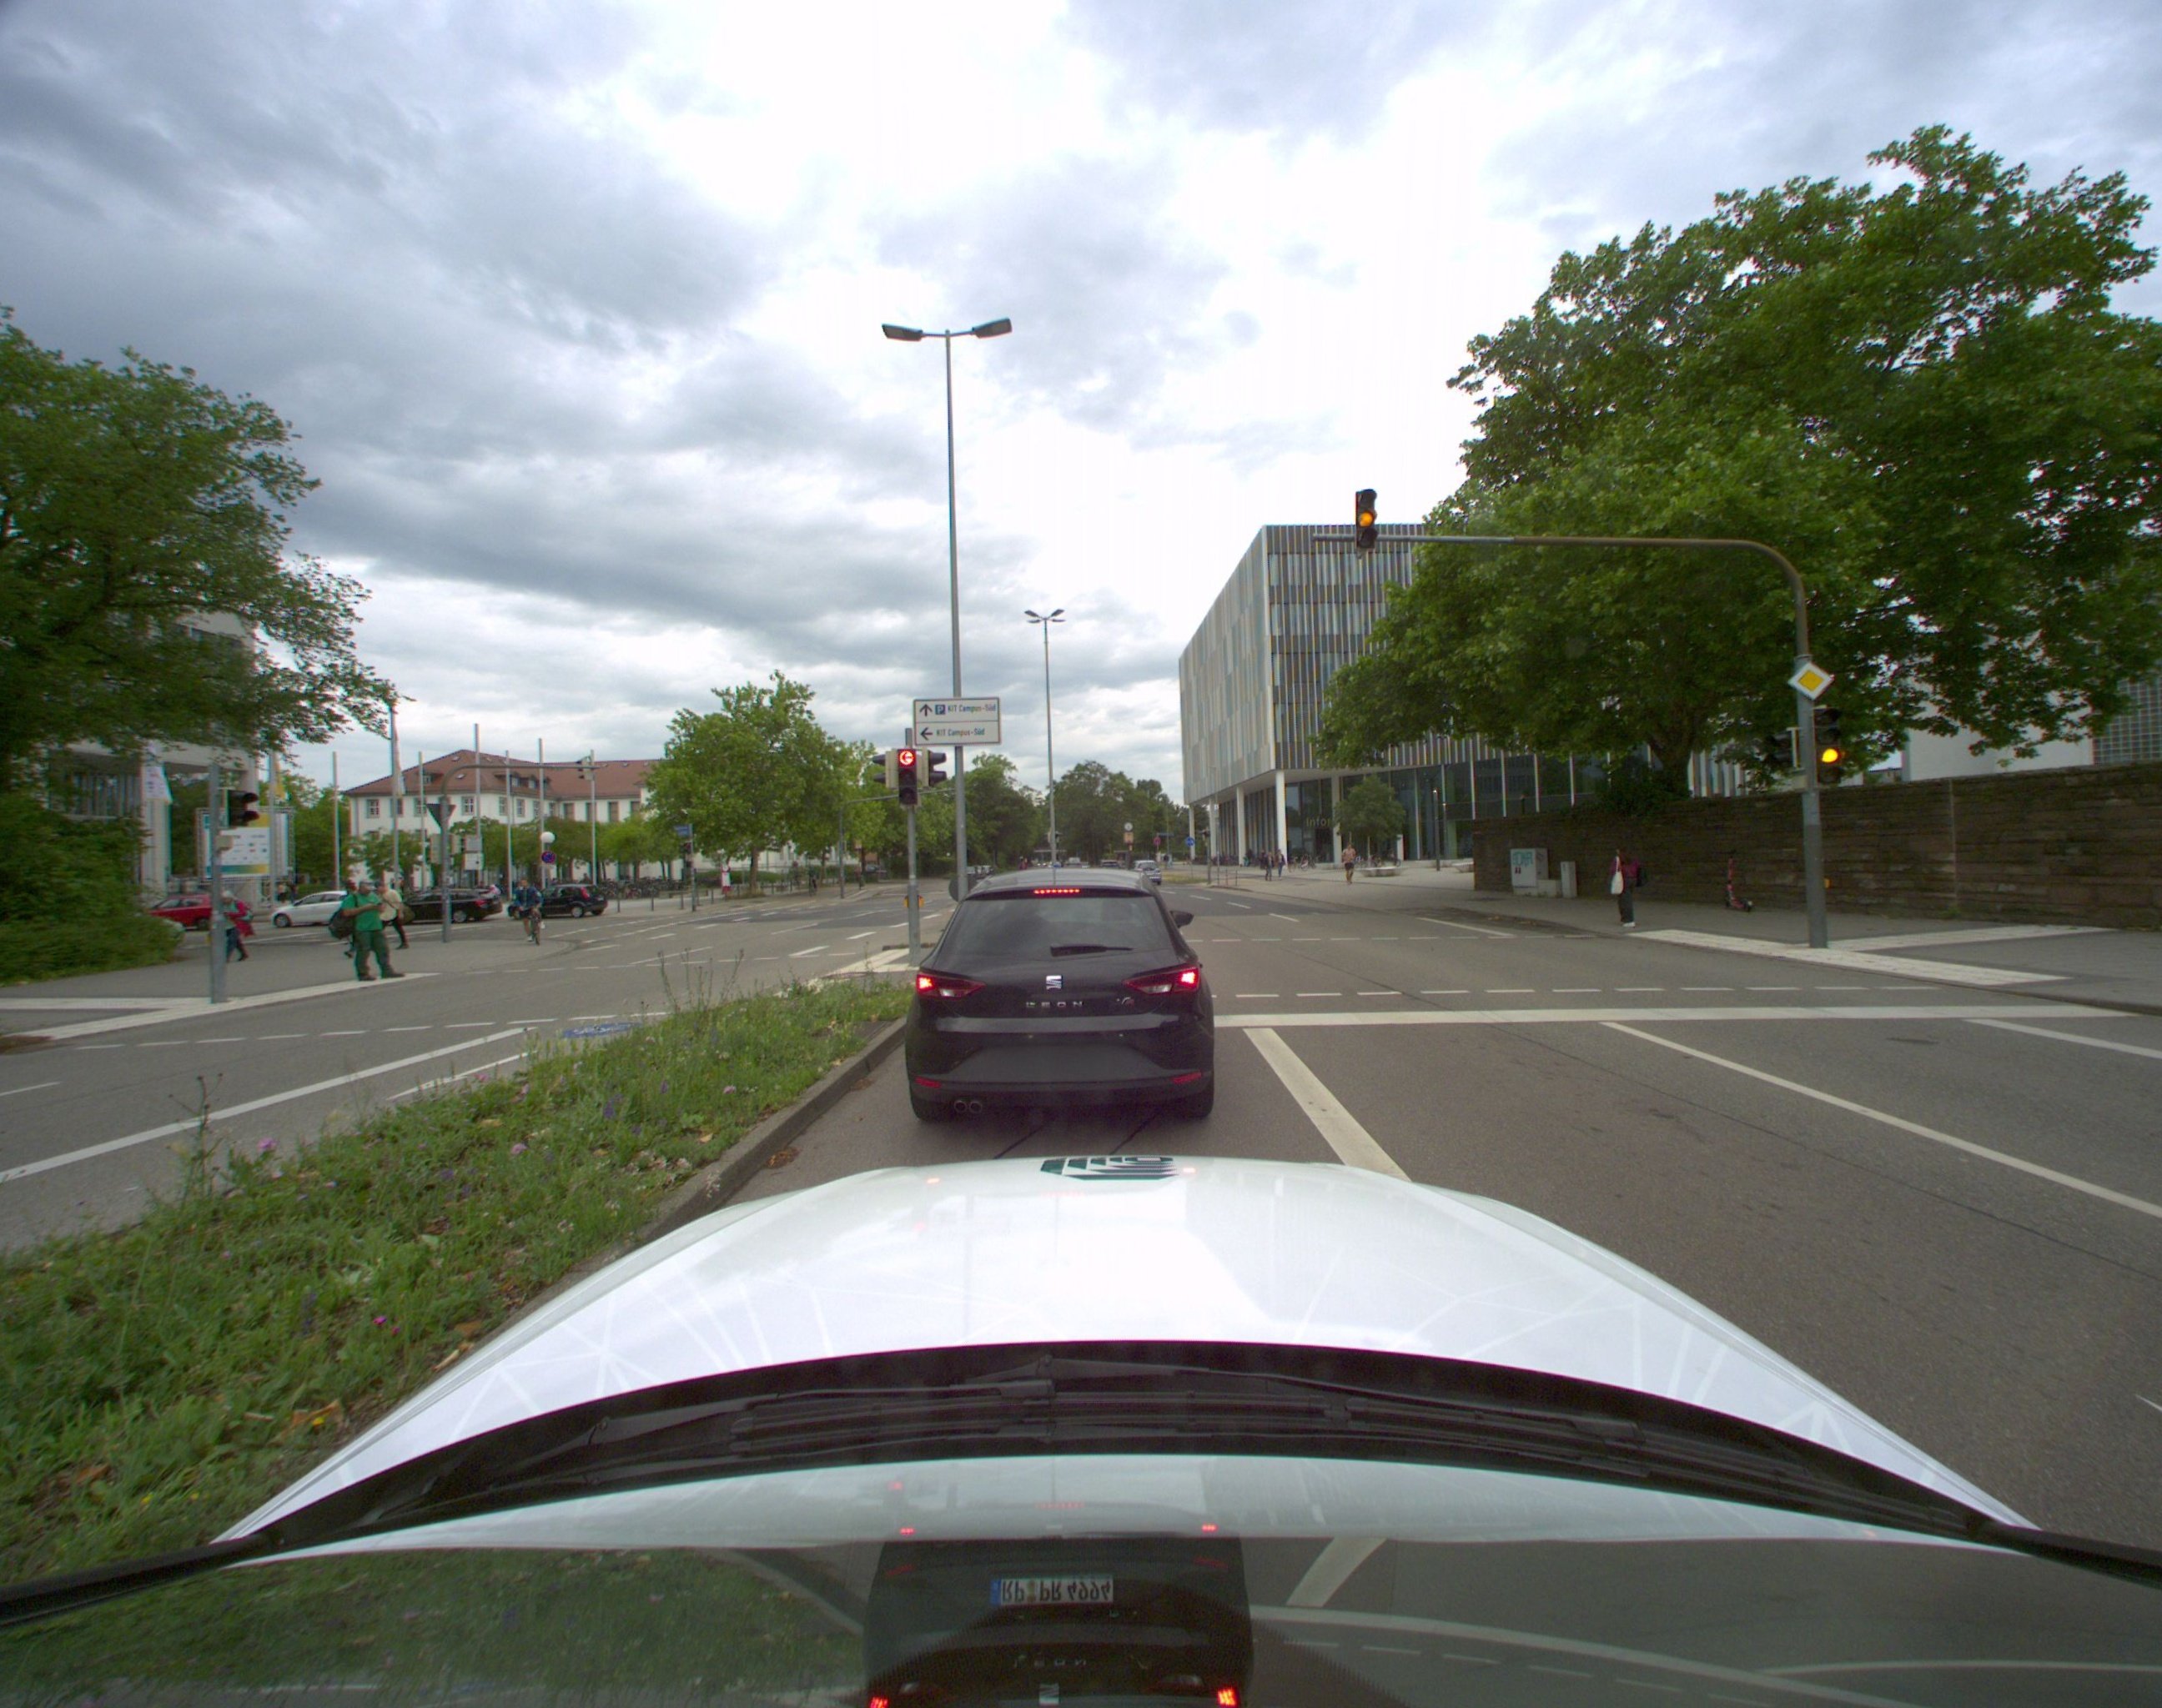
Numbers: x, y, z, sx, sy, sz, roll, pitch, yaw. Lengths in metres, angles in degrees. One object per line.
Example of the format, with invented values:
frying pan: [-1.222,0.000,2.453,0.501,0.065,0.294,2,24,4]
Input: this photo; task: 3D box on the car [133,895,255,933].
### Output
car: [-38.117,2.570,35.070,3.341,1.479,1.559,-1,0,-5]

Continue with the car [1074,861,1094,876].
car: [0.332,1.586,89.286,1.817,1.551,4.531,0,-1,4]

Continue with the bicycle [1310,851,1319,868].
bicycle: [18.399,0.411,64.117,0.522,1.253,1.674,-3,0,20]

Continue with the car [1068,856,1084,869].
car: [-0.820,1.301,125.285,1.965,1.972,4.332,0,0,-7]

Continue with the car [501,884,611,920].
car: [-23.113,2.106,35.957,3.649,1.223,1.562,-1,7,-5]

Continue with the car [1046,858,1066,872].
car: [-2.715,1.170,88.125,1.781,1.463,3.859,-1,0,-9]

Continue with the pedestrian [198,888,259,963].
pedestrian: [-18.160,1.517,17.369,0.572,1.527,0.842,-2,-5,-22]

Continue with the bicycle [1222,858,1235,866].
bicycle: [15.702,0.849,86.684,1.232,0.705,0.490,-3,0,10]

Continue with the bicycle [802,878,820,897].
bicycle: [-15.693,1.910,47.319,0.486,1.005,1.590,-1,1,2]

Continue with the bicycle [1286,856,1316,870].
bicycle: [15.120,0.618,55.998,1.892,0.898,0.693,-4,0,-20]

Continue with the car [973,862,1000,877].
car: [-11.229,1.852,96.724,1.746,1.587,4.016,-3,0,15]

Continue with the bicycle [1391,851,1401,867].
bicycle: [22.530,0.328,58.298,0.616,1.056,1.959,-3,0,21]

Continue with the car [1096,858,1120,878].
car: [2.249,1.131,68.261,1.900,1.624,4.491,-1,0,1]

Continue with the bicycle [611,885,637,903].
bicycle: [-31.089,2.718,55.433,1.405,1.052,0.585,-4,0,-19]

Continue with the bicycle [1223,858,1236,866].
bicycle: [15.625,0.864,85.793,1.366,0.705,0.490,-3,0,10]

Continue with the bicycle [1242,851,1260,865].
bicycle: [16.172,0.419,77.520,1.785,1.211,0.564,-4,0,-32]

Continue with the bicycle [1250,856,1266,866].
bicycle: [16.462,0.664,75.802,1.445,0.857,0.362,-4,0,-25]

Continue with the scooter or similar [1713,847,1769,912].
scooter or similar: [13.079,0.474,16.178,0.428,1.179,1.714,-4,0,26]

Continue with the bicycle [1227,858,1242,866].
bicycle: [15.831,0.832,83.990,1.368,0.705,0.416,-4,0,4]

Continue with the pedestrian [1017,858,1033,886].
pedestrian: [-3.233,1.040,47.023,0.873,1.586,0.542,-3,0,-5]

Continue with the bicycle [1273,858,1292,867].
bicycle: [17.194,0.724,69.439,1.475,0.748,0.566,-4,0,-2]

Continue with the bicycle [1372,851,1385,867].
bicycle: [21.654,0.388,59.245,0.802,1.056,1.959,-3,0,21]

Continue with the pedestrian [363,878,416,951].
pedestrian: [-17.339,1.522,20.438,0.845,1.740,0.823,-1,-5,-29]

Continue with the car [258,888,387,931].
car: [-33.058,2.398,35.573,3.868,1.539,1.684,-2,2,-2]

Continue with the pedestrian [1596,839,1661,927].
pedestrian: [10.332,0.532,15.385,0.657,1.561,0.636,-6,0,1]

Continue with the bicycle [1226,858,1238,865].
bicycle: [16.204,0.806,87.354,1.266,0.705,0.486,-3,0,8]

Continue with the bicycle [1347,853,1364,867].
bicycle: [20.597,0.473,61.046,0.688,0.946,1.997,-3,0,32]

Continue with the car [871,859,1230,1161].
car: [-0.020,0.773,5.860,1.745,1.432,3.773,-1,0,4]

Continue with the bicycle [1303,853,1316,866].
bicycle: [18.788,0.445,66.902,0.614,1.045,1.716,-3,0,28]

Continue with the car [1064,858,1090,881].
car: [-0.277,1.155,61.873,1.877,1.600,4.447,2,0,0]

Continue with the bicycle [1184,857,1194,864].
bicycle: [14.444,0.898,108.733,1.262,0.848,0.479,1,-2,-21]

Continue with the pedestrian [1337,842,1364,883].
pedestrian: [11.816,0.368,35.703,0.844,1.765,0.768,-3,0,1]

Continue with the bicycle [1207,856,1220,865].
bicycle: [14.950,0.762,91.679,1.379,0.942,0.489,-3,0,8]

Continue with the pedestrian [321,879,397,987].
pedestrian: [-12.437,1.312,14.038,0.948,1.759,0.865,0,-2,-42]

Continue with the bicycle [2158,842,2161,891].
bicycle: [13.544,0.408,8.920,0.801,1.174,1.952,-5,0,-3]

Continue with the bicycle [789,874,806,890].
bicycle: [-20.941,2.078,60.199,0.606,1.060,2.041,-3,0,-4]

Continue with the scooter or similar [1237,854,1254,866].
scooter or similar: [15.787,0.558,78.106,1.682,1.106,0.494,-4,0,-30]

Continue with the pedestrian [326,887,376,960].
pedestrian: [-16.169,1.527,18.052,0.796,1.558,0.691,1,-5,-42]

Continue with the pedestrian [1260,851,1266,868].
pedestrian: [15.317,0.479,68.521,0.469,1.361,0.447,-3,0,12]

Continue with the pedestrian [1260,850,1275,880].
pedestrian: [10.303,0.590,45.057,0.684,1.640,0.633,-1,0,1]

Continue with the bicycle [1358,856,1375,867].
bicycle: [21.138,0.547,60.258,1.535,0.716,0.513,-4,0,-42]

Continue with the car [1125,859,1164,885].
car: [3.856,1.071,50.086,1.665,1.466,3.651,-1,0,-7]

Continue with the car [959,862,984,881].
car: [-11.680,1.845,86.754,1.899,1.717,4.002,-3,0,2]

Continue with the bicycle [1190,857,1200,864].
bicycle: [14.995,0.830,106.713,1.239,0.823,0.479,0,-1,-21]

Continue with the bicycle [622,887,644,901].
bicycle: [-30.913,2.770,56.192,1.211,0.880,0.262,-4,0,-22]

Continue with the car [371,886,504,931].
car: [-27.566,2.306,35.028,4.059,1.452,1.615,-3,5,-16]

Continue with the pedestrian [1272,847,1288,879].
pedestrian: [11.008,0.496,45.080,0.684,1.781,0.677,-2,0,1]

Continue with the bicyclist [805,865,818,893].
bicyclist: [-15.690,1.460,47.390,0.489,1.625,0.588,0,1,1]
